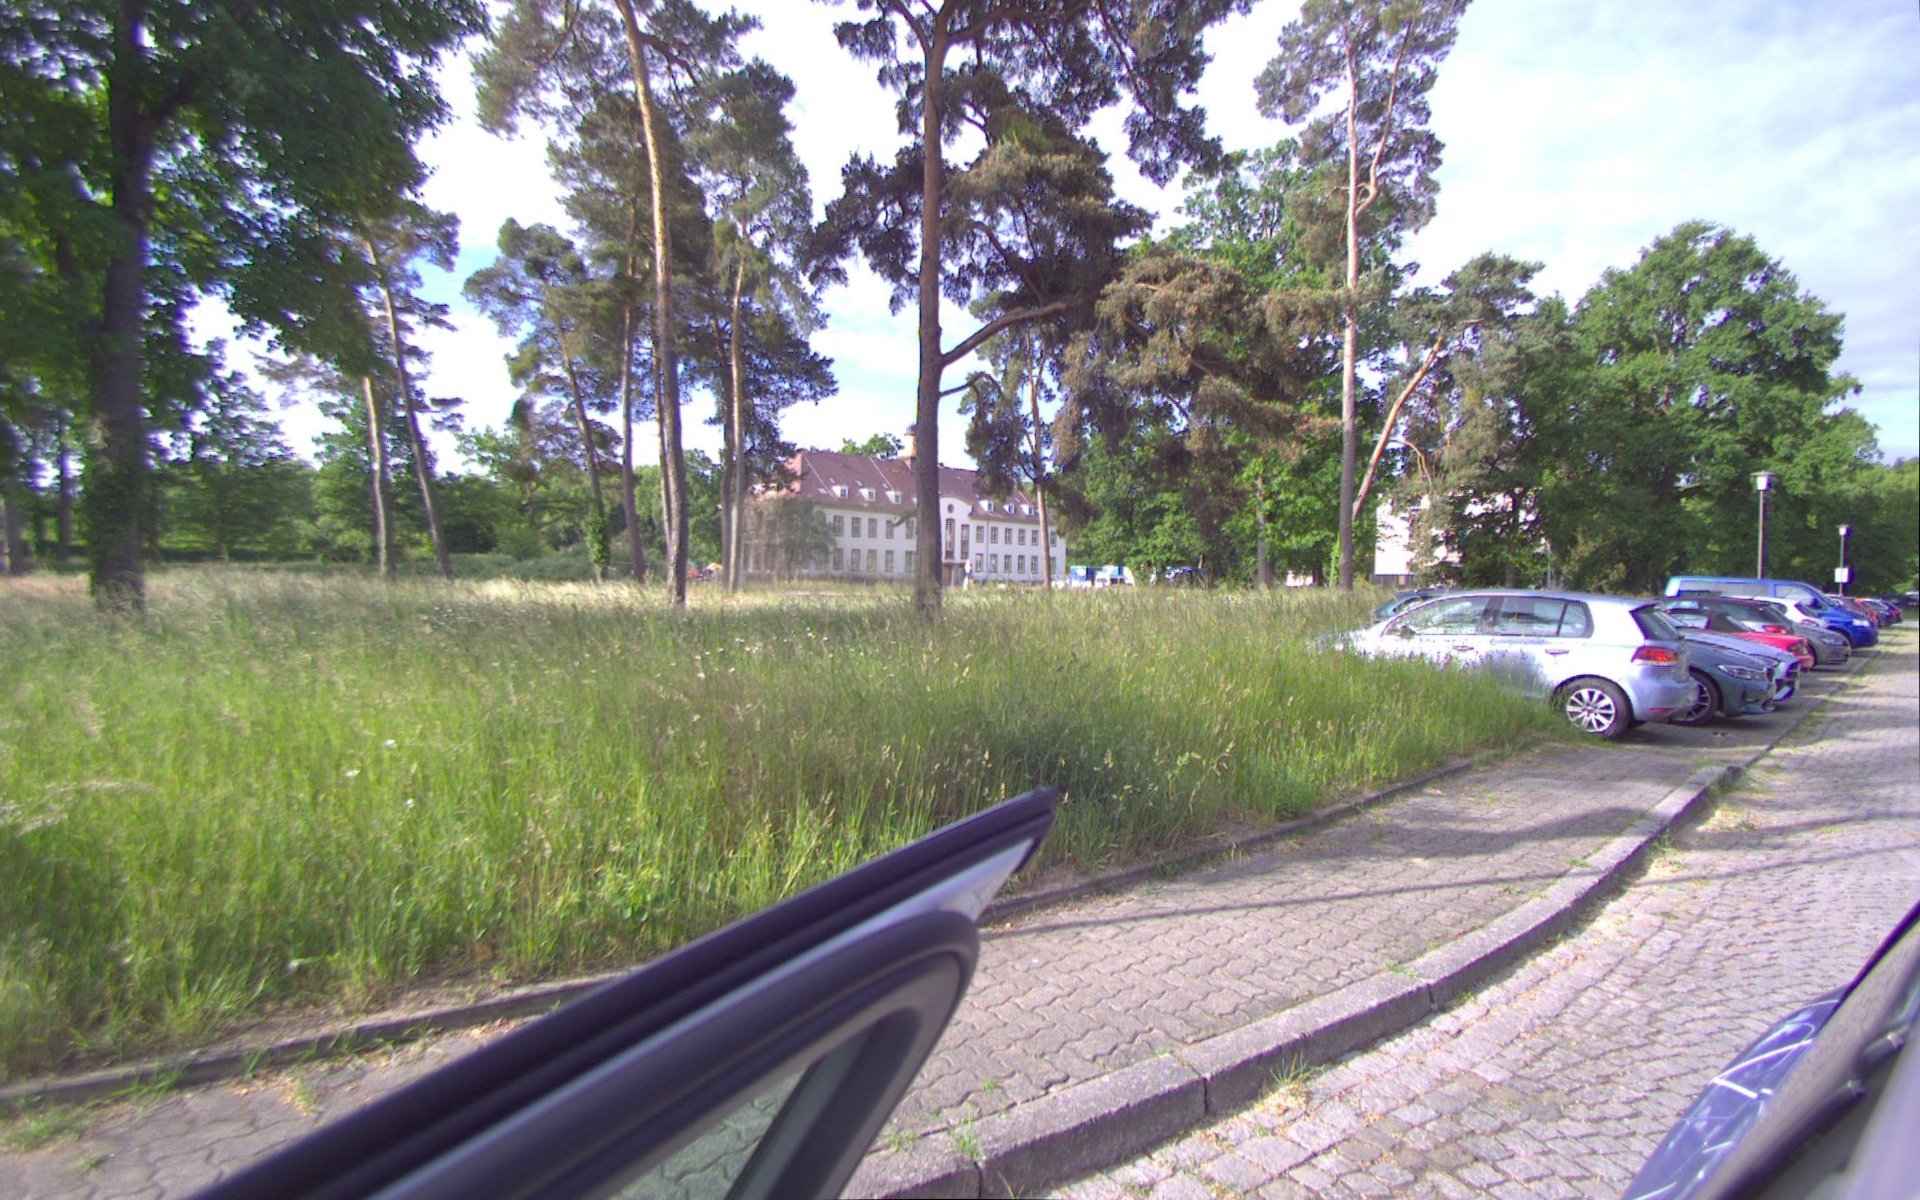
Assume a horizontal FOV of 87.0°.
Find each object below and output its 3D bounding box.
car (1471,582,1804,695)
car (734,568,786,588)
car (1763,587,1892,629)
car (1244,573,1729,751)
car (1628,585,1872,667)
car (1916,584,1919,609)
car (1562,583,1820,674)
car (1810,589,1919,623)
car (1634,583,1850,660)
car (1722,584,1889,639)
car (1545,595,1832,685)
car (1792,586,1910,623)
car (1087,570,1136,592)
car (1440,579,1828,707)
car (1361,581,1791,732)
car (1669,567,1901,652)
[{"bbox_3d":[11.129,0.522,16.861,1.712,1.491,4.344,-1,3,-45],"label":"car"},{"bbox_3d":[-22.014,-2.459,111.440,5.637,2.038,2.597,2,2,39],"label":"car"},{"bbox_3d":[35.547,0.278,41.528,3.879,1.491,1.660,4,4,44],"label":"car"},{"bbox_3d":[5.783,0.509,11.529,4.545,1.523,1.903,3,3,44],"label":"car"},{"bbox_3d":[17.057,0.480,21.970,1.801,1.485,3.954,-1,3,-44],"label":"car"},{"bbox_3d":[82.430,-0.203,83.556,1.968,2.066,5.068,0,1,-45],"label":"car"},{"bbox_3d":[14.605,0.485,20.365,1.743,1.513,3.954,-1,3,-44],"label":"car"},{"bbox_3d":[46.190,0.271,51.727,1.753,1.468,4.032,-1,3,-43],"label":"car"},{"bbox_3d":[18.705,0.442,24.305,1.778,1.549,3.878,-1,3,-44],"label":"car"},{"bbox_3d":[28.552,0.332,34.244,4.192,1.608,1.848,3,3,44],"label":"car"},{"bbox_3d":[13.031,0.632,18.261,1.698,1.276,3.954,-1,3,-44],"label":"car"},{"bbox_3d":[42.760,0.179,48.626,4.128,1.588,1.719,3,3,45],"label":"car"},{"bbox_3d":[16.935,-2.108,112.871,5.861,2.328,2.165,0,2,-43],"label":"car"},{"bbox_3d":[9.810,0.499,15.015,1.820,1.491,4.510,-1,3,-45],"label":"car"},{"bbox_3d":[7.828,0.566,13.133,4.504,1.491,1.867,3,3,41],"label":"car"},{"bbox_3d":[22.594,0.177,27.859,4.736,1.952,1.960,5,4,44],"label":"car"}]
